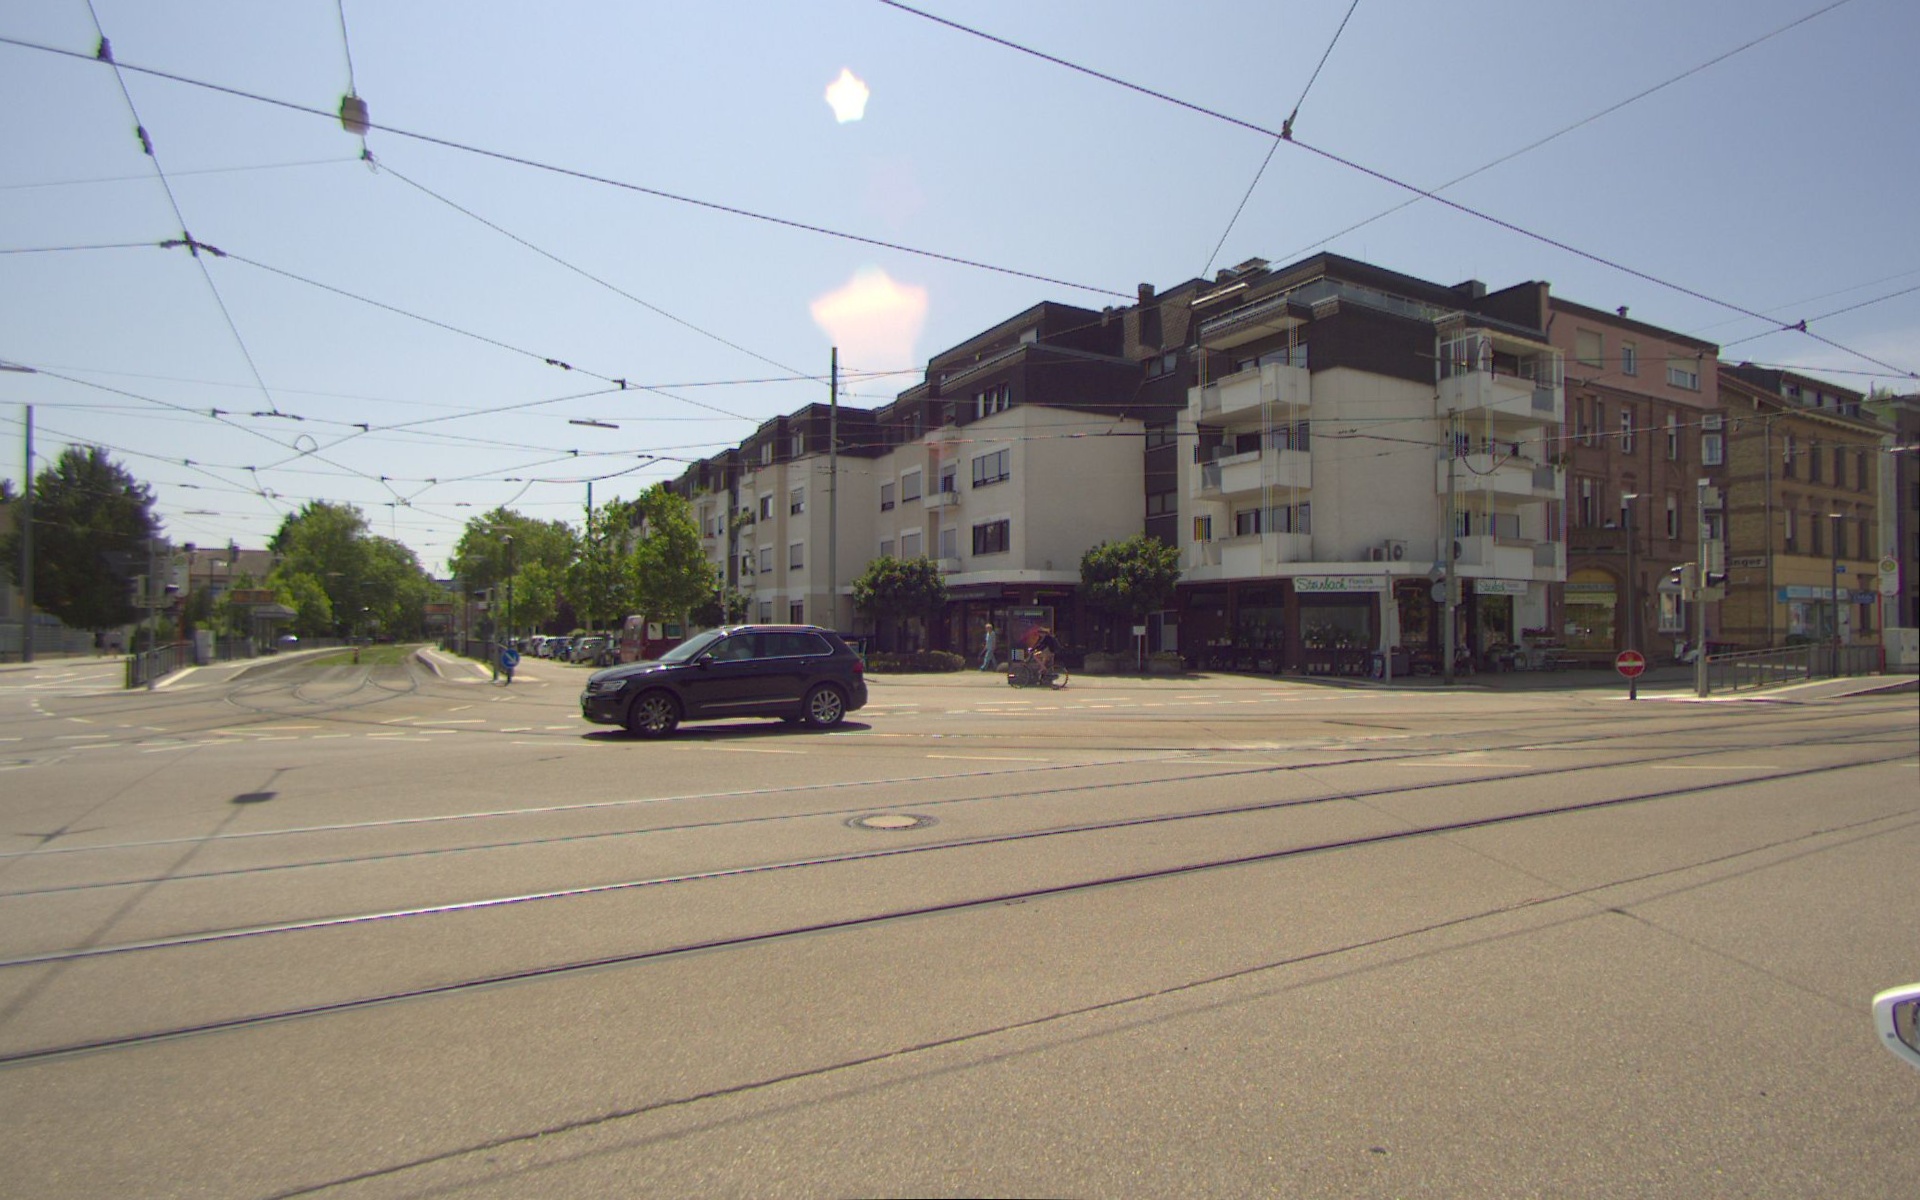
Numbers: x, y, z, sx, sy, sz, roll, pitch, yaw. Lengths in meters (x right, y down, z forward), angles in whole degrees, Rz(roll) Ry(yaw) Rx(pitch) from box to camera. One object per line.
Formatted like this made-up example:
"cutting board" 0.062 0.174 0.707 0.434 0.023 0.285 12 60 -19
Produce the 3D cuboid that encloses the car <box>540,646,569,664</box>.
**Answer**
"car" -29.363 3.967 72.704 1.571 1.256 3.555 1 -2 -29

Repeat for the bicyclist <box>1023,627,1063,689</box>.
"bicyclist" 2.429 1.691 29.224 1.112 1.785 0.735 -1 -2 8

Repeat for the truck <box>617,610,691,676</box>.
"truck" -13.706 1.906 44.795 2.161 2.734 5.005 1 -2 -29

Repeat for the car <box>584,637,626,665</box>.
"car" -19.239 2.733 54.375 1.571 1.451 3.555 1 -2 -29

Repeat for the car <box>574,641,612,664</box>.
"car" -21.458 3.030 58.629 1.571 1.256 3.555 1 -2 -29

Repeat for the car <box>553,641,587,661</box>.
"car" -24.915 3.242 64.108 1.571 1.256 3.555 1 -2 -29

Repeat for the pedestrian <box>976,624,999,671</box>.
"pedestrian" 1.012 1.731 36.721 0.791 1.719 0.702 0 -2 3

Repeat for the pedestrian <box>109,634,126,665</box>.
"pedestrian" -53.071 3.096 63.259 0.671 1.927 0.644 1 -2 -30

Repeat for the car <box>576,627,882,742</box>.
"car" -3.627 1.249 15.942 4.438 1.600 1.787 1 -2 -28

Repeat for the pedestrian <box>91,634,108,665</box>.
"pedestrian" -53.895 3.077 62.915 0.671 1.927 0.644 1 -2 -30

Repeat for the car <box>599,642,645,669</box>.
"car" -16.827 2.730 49.879 1.571 1.235 3.555 1 -2 -29

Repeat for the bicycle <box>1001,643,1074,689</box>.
"bicycle" 2.271 1.905 29.243 2.062 1.321 0.679 -1 -2 8

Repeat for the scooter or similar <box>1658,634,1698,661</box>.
"scooter or similar" 30.708 2.032 42.973 1.550 1.096 0.488 0 -2 -13

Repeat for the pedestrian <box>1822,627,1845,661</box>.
"pedestrian" 40.659 2.052 46.779 0.633 1.581 0.611 0 -2 -30

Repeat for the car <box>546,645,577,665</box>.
"car" -27.050 3.706 68.095 1.571 1.256 3.555 1 -2 -29
